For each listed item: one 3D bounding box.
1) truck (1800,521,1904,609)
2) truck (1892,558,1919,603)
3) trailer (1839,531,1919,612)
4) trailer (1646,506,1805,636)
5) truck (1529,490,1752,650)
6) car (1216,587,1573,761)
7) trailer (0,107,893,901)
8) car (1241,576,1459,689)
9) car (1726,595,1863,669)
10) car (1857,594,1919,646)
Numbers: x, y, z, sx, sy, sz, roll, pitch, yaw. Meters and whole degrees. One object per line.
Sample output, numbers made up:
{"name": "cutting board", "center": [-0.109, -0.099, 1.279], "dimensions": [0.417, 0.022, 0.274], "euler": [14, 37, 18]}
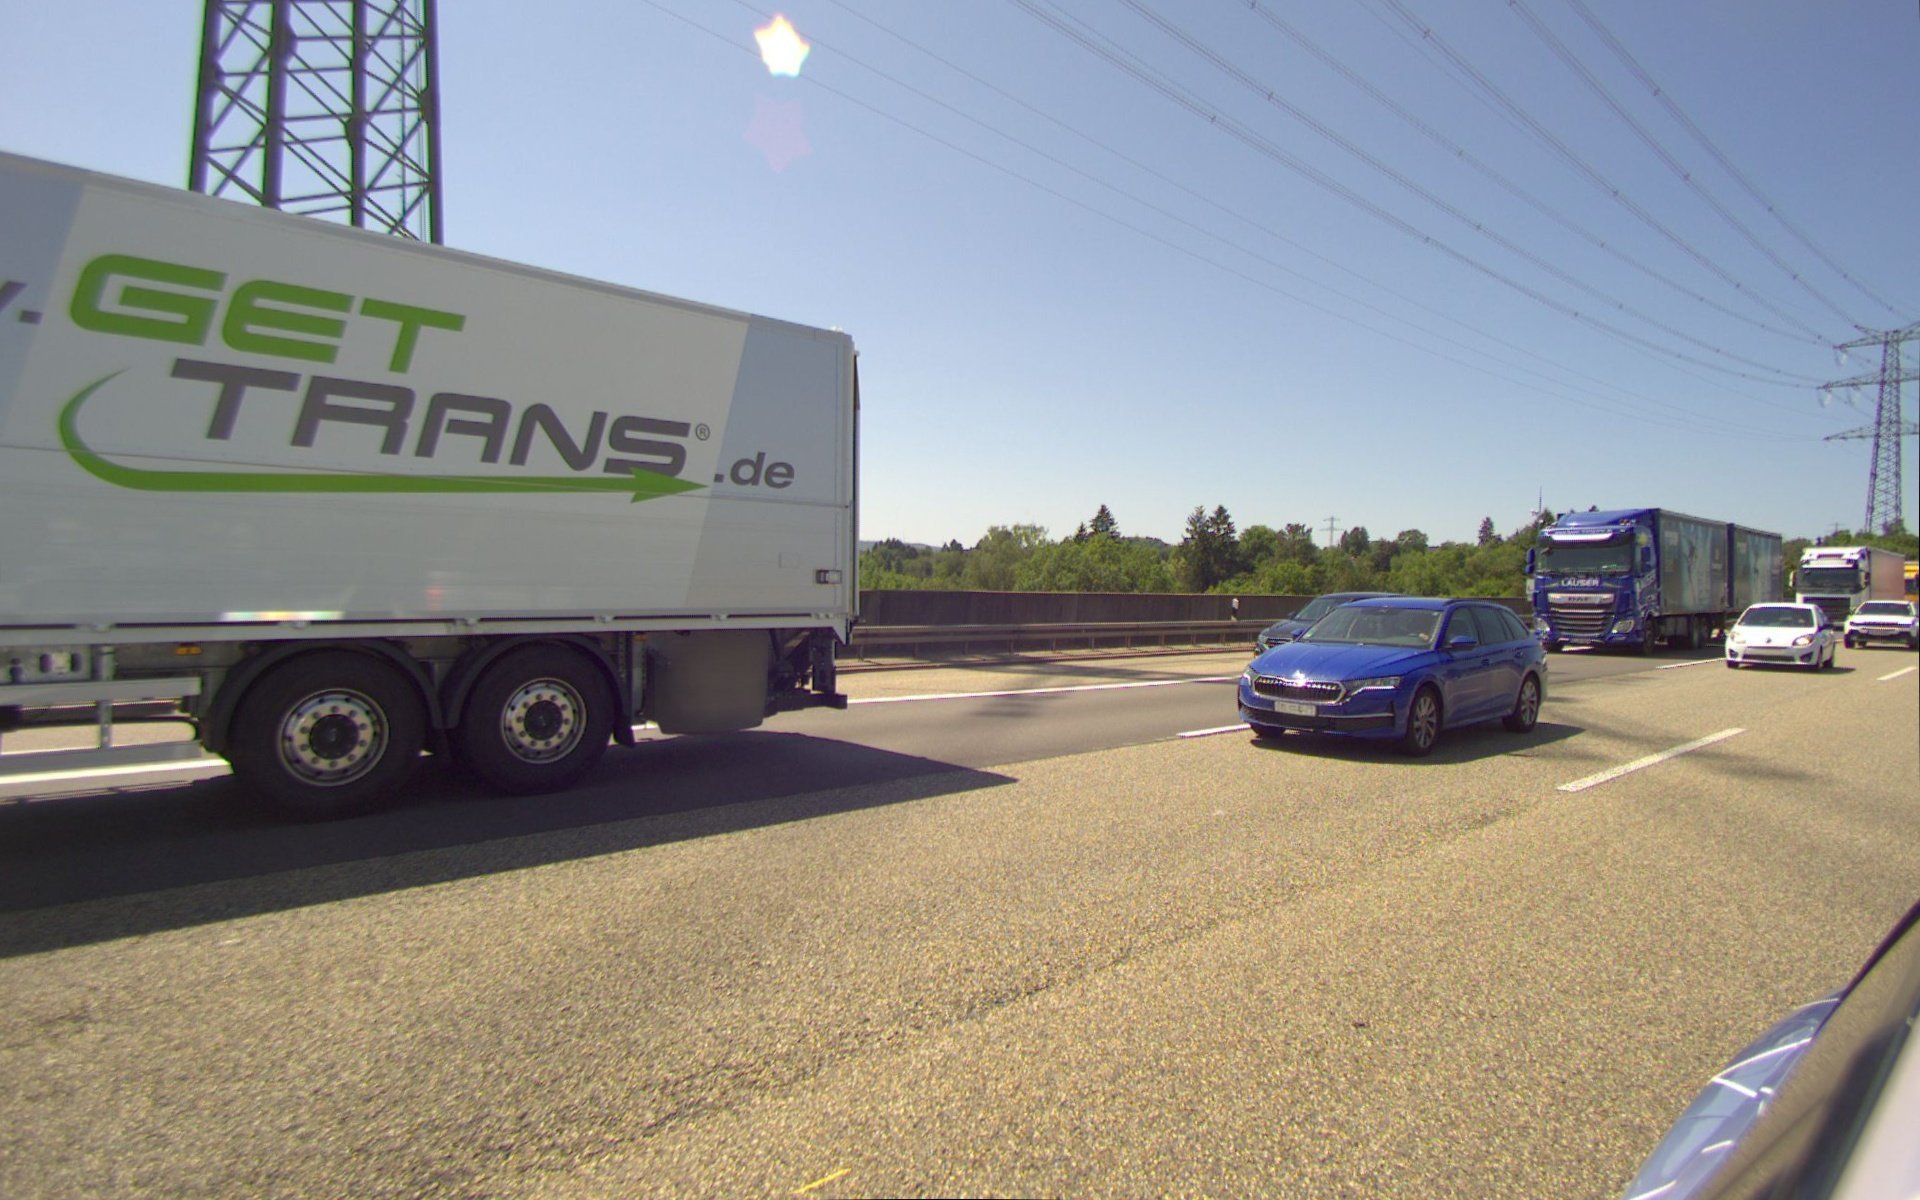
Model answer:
{"name": "truck", "center": [44.320, -1.670, 50.181], "dimensions": [8.116, 4.037, 2.607], "euler": [-1, 0, -39]}
{"name": "truck", "center": [67.166, -1.340, 70.833], "dimensions": [6.139, 3.018, 2.249], "euler": [-1, 4, -43]}
{"name": "trailer", "center": [50.913, -1.504, 55.623], "dimensions": [8.924, 4.169, 2.607], "euler": [-1, 0, -40]}
{"name": "trailer", "center": [27.353, -0.969, 35.986], "dimensions": [8.487, 4.140, 2.833], "euler": [-1, 0, -41]}
{"name": "truck", "center": [20.300, -0.821, 29.840], "dimensions": [10.212, 3.999, 2.857], "euler": [-1, 1, -41]}
{"name": "car", "center": [4.769, 0.610, 10.774], "dimensions": [4.483, 1.470, 1.711], "euler": [-1, 1, -41]}
{"name": "trailer", "center": [-4.545, -0.503, 7.158], "dimensions": [8.073, 3.940, 2.903], "euler": [-1, 1, -42]}
{"name": "car", "center": [6.620, 0.456, 16.998], "dimensions": [4.046, 1.675, 1.711], "euler": [-1, 1, -41]}
{"name": "car", "center": [18.776, 0.650, 22.702], "dimensions": [4.072, 1.470, 1.711], "euler": [-1, 1, -41]}
{"name": "car", "center": [30.028, 0.596, 32.193], "dimensions": [4.072, 1.528, 1.711], "euler": [-1, 1, -41]}
